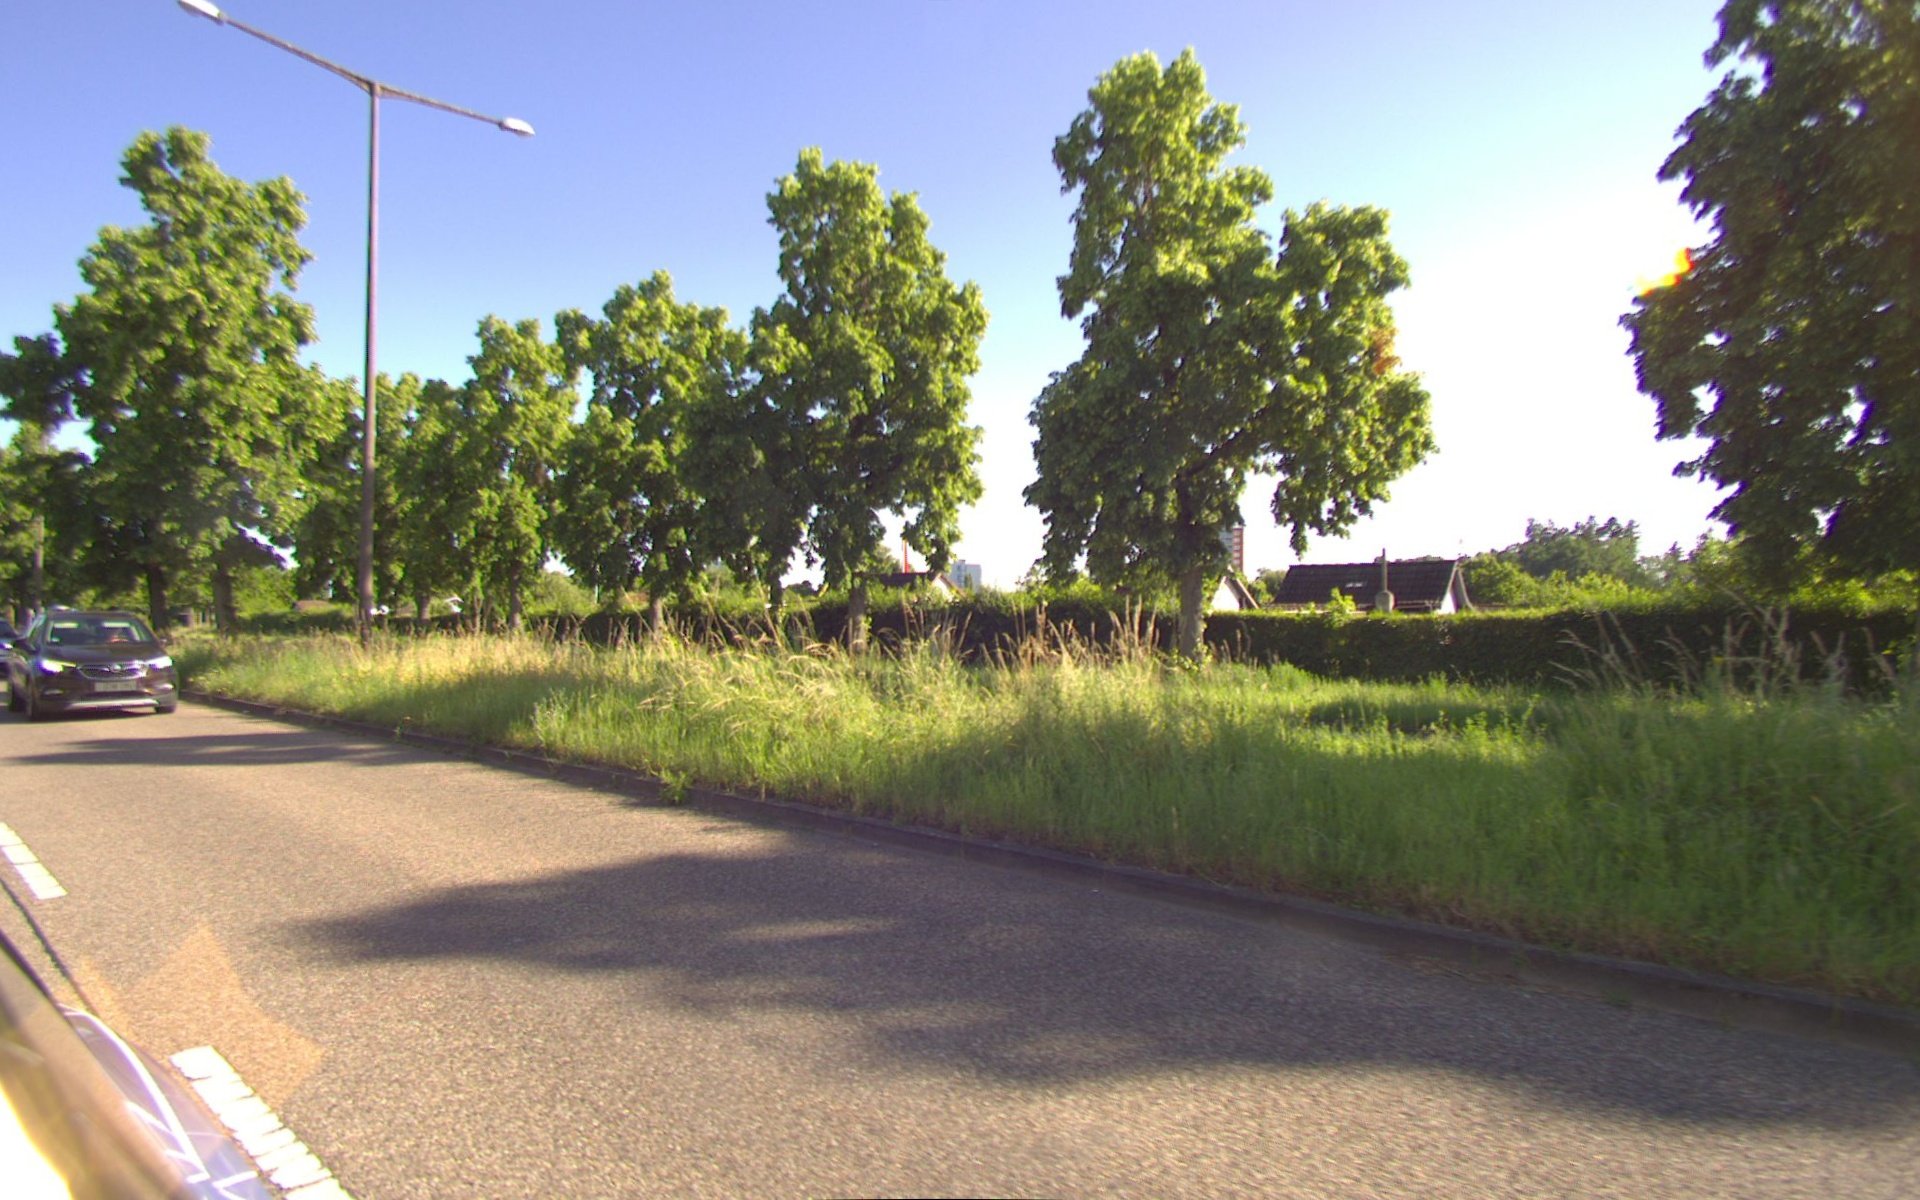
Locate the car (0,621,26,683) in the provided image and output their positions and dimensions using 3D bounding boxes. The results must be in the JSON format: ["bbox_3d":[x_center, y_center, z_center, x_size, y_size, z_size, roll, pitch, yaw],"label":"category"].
[{"bbox_3d":[-26.975,1.403,27.545,4.089,1.626,1.807,-1,-2,41],"label":"car"}]

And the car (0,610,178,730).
[{"bbox_3d":[-13.951,1.030,16.110,3.855,1.675,1.691,-1,-2,42],"label":"car"}]
